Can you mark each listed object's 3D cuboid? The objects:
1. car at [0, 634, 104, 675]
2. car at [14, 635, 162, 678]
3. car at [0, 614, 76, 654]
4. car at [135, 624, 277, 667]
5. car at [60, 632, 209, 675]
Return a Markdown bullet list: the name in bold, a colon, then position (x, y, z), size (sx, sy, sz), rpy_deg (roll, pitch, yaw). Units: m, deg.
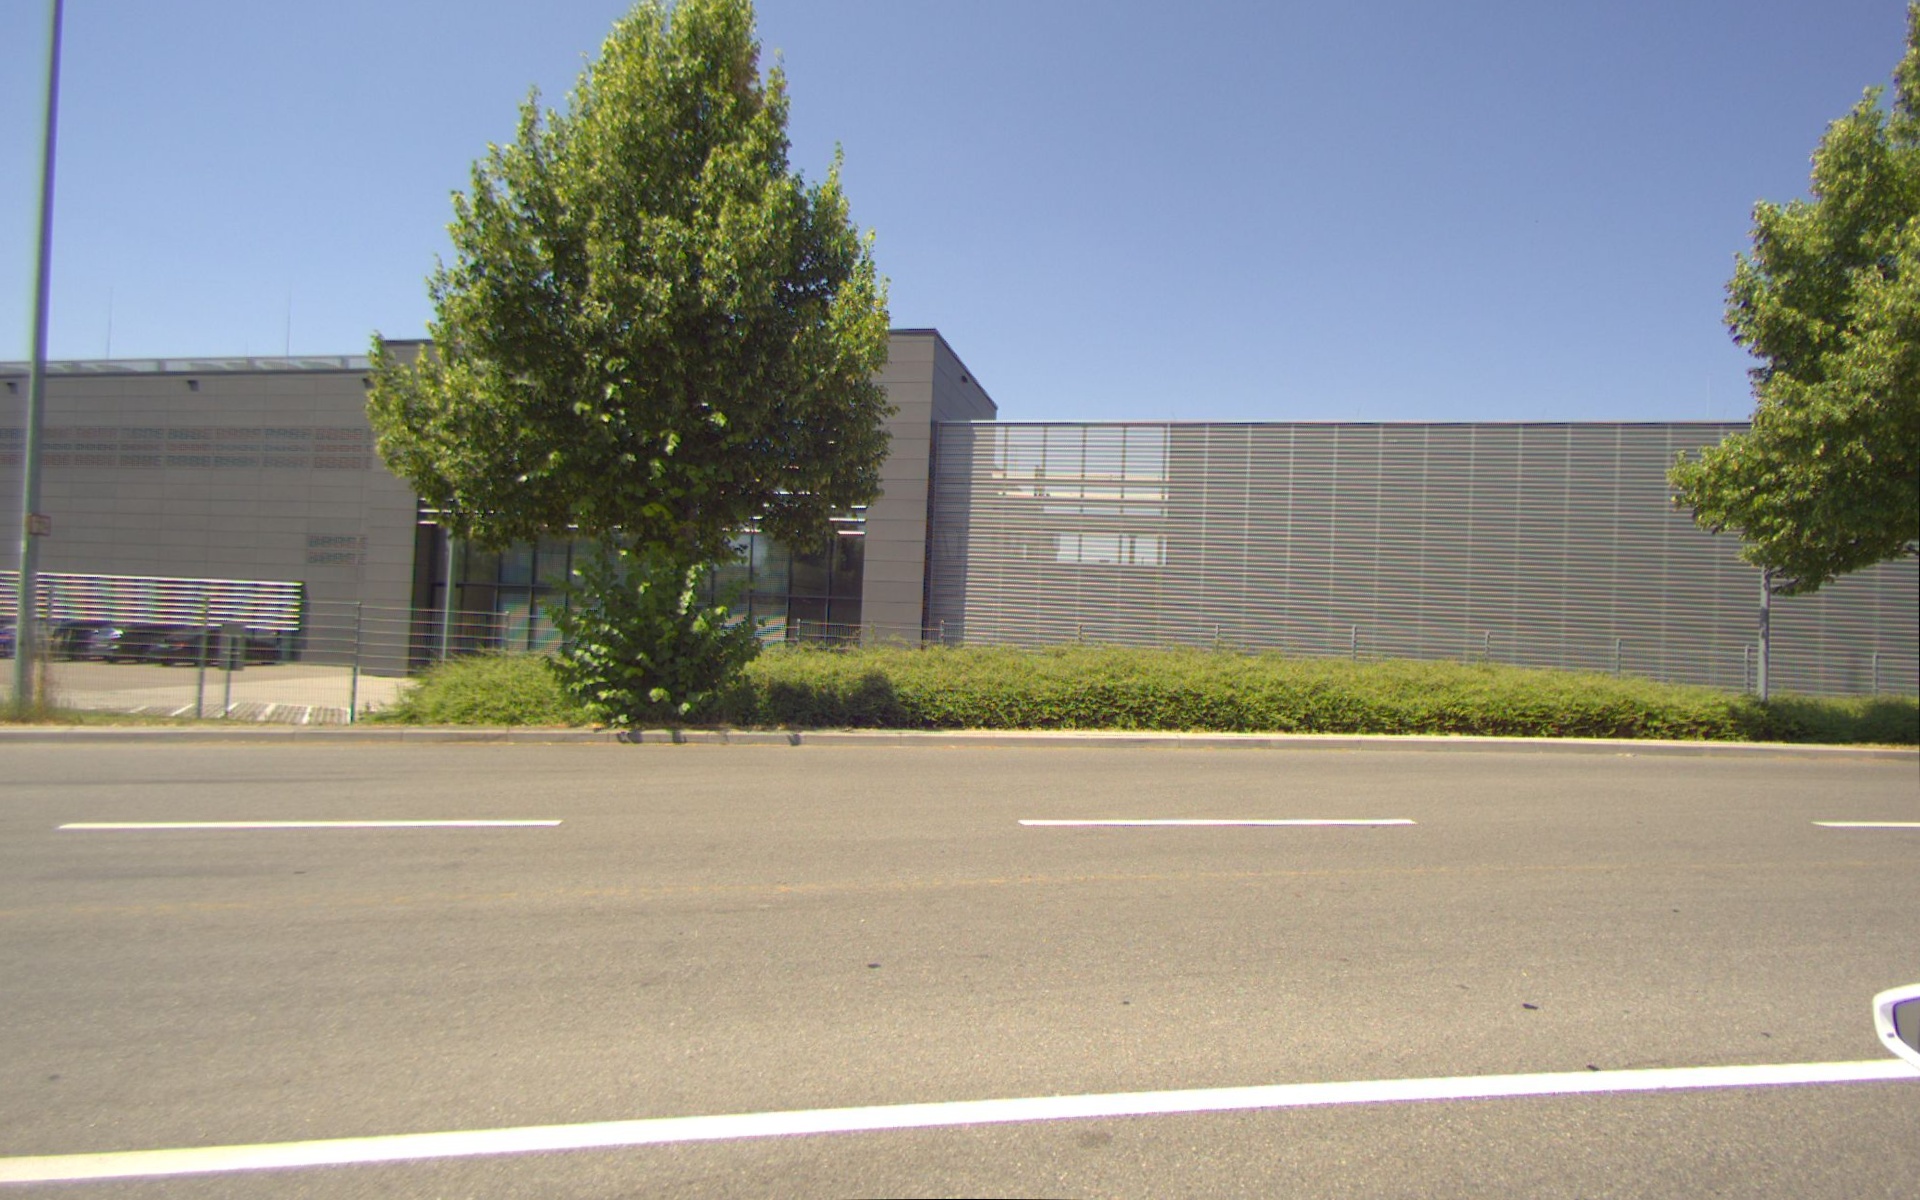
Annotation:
- **car**: position (-36.025, 2.139, 38.915), size (1.959, 1.505, 4.004), rpy_deg (-1, -4, 9)
- **car**: position (-33.141, 2.160, 38.329), size (1.783, 1.548, 4.004), rpy_deg (-1, -4, 9)
- **car**: position (-37.951, 1.354, 39.892), size (1.881, 1.537, 4.003), rpy_deg (-1, -1, 9)
- **car**: position (-28.086, 1.742, 37.604), size (1.959, 1.505, 4.004), rpy_deg (-1, -4, 9)
- **car**: position (-30.805, 2.014, 37.657), size (1.959, 1.505, 4.004), rpy_deg (-1, -4, 9)
